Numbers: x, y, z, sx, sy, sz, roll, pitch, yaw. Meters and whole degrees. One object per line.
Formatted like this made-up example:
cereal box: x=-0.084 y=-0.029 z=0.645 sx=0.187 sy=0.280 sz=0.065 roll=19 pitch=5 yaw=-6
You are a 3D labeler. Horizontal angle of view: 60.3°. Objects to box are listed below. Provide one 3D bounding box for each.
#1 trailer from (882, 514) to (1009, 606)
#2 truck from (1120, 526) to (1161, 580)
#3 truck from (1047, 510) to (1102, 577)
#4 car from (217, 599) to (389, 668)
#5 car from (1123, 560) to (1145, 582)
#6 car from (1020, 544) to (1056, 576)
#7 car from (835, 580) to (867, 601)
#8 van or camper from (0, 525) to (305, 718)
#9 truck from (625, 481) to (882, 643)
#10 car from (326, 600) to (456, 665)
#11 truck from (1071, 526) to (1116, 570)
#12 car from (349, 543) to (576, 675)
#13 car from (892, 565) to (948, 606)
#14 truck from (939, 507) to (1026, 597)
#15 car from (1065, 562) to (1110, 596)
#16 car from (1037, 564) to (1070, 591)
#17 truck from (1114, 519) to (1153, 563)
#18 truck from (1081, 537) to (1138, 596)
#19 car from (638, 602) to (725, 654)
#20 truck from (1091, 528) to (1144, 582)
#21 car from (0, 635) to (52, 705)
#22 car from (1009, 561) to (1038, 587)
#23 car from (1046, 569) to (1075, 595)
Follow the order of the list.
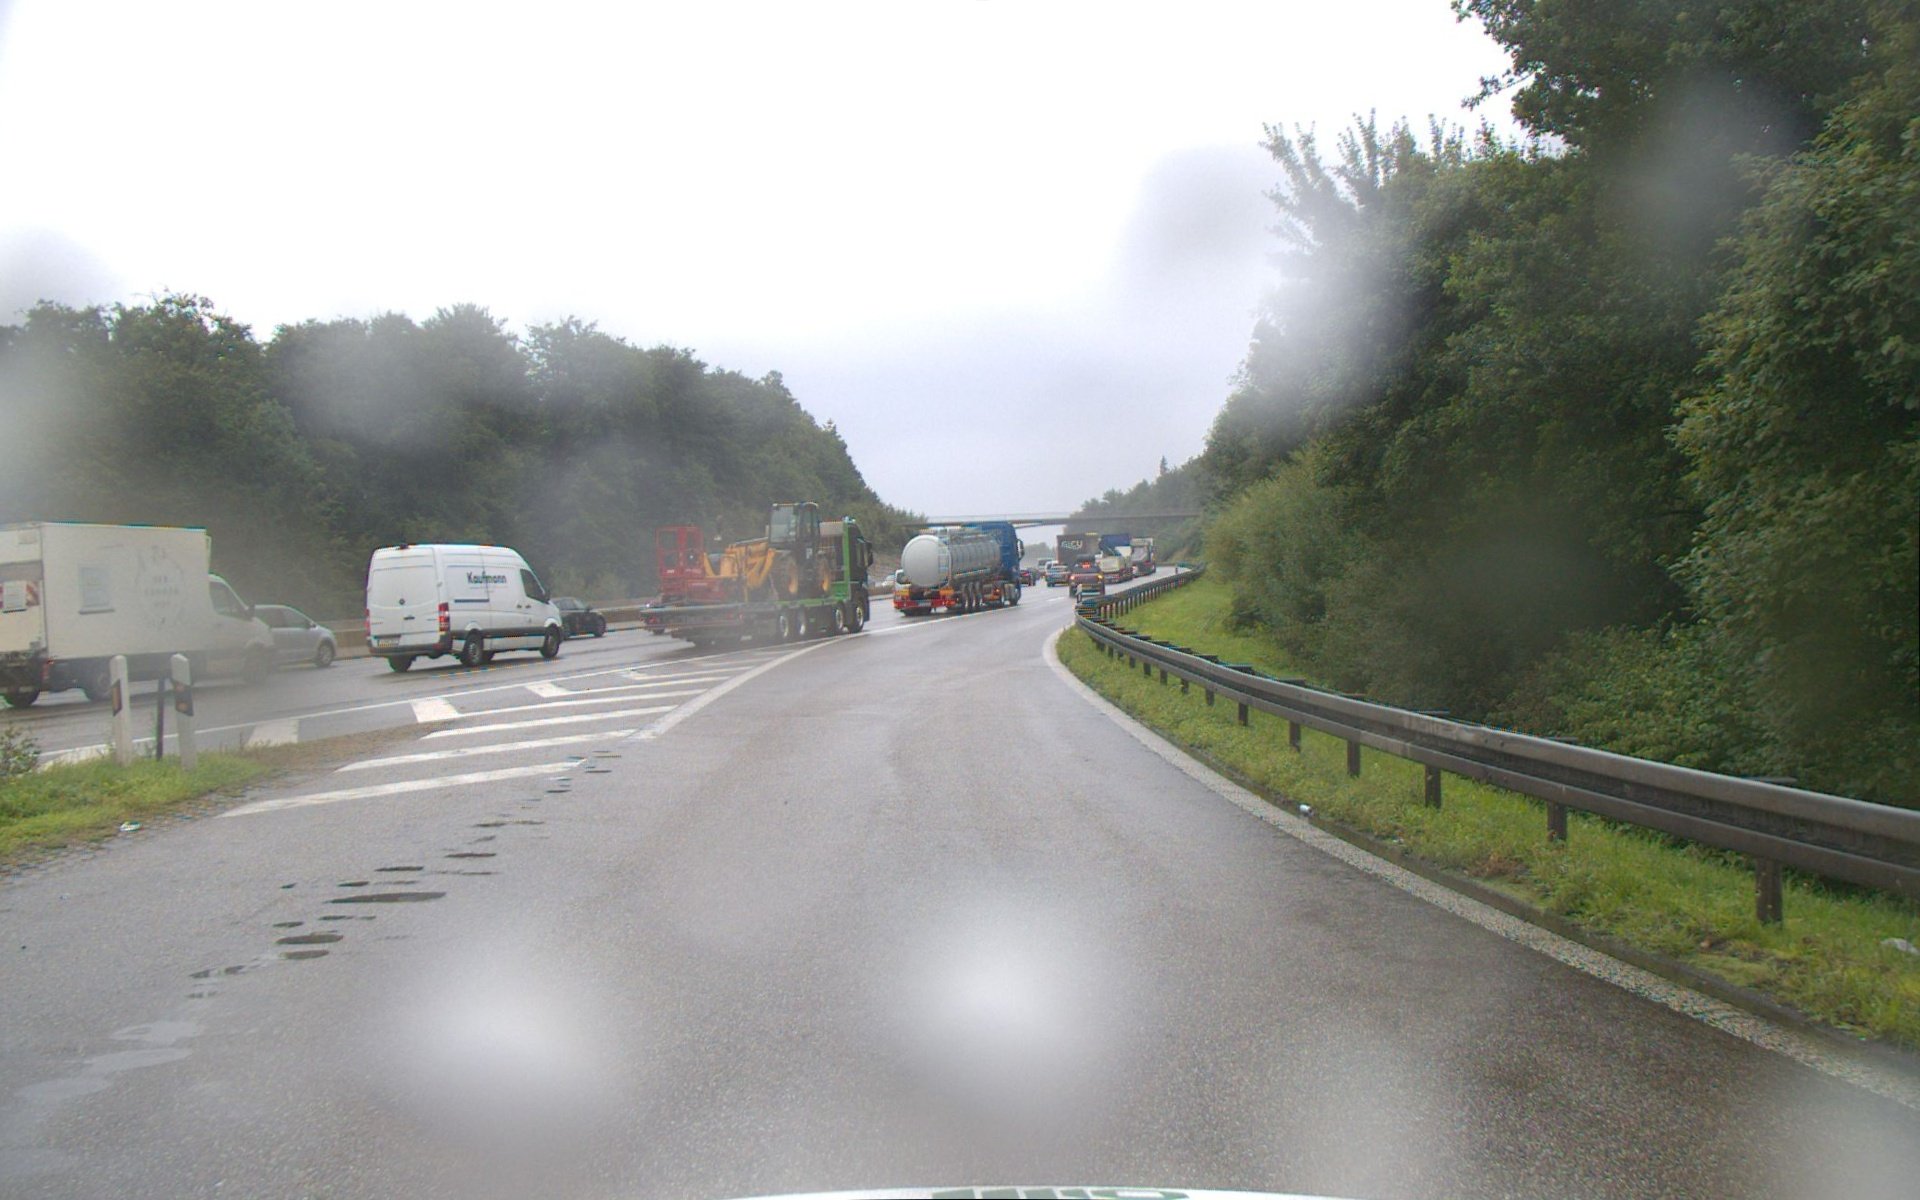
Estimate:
trailer: x=-0.413 y=-1.692 z=67.288 sx=2.812 sy=3.345 sz=10.088 roll=-2 pitch=1 yaw=13
truck: x=20.741 y=-5.310 z=189.314 sx=4.244 sy=5.864 sz=9.739 roll=1 pitch=0 yaw=8
truck: x=10.175 y=-4.911 z=146.107 sx=3.674 sy=5.595 sz=10.182 roll=1 pitch=0 yaw=10
car: x=-17.143 y=0.832 z=43.421 sx=1.826 sy=1.549 sz=4.634 roll=-2 pitch=1 yaw=13
car: x=15.935 y=-2.627 z=151.461 sx=1.759 sy=1.937 sz=4.004 roll=-2 pitch=0 yaw=9
car: x=7.891 y=-3.981 z=166.462 sx=3.029 sy=3.054 sz=6.779 roll=1 pitch=0 yaw=8
car: x=-10.268 y=-0.919 z=156.153 sx=1.951 sy=1.784 sz=4.004 roll=-2 pitch=1 yaw=12
van or camper: x=-15.979 y=0.322 z=31.847 sx=2.524 sy=3.259 sz=7.138 roll=-2 pitch=1 yaw=13
truck: x=-5.142 y=-1.049 z=44.653 sx=2.771 sy=3.650 sz=11.809 roll=-3 pitch=1 yaw=13
car: x=-17.065 y=0.947 z=49.807 sx=1.738 sy=1.735 sz=4.004 roll=-2 pitch=1 yaw=14
truck: x=13.978 y=-5.341 z=171.859 sx=3.500 sy=4.167 sz=10.889 roll=-2 pitch=0 yaw=10
car: x=-11.077 y=0.135 z=37.399 sx=2.168 sy=2.675 sz=5.849 roll=-2 pitch=1 yaw=13
car: x=-1.862 y=-0.692 z=77.665 sx=1.780 sy=1.797 sz=4.004 roll=-2 pitch=1 yaw=11
truck: x=1.057 y=-2.143 z=73.960 sx=2.815 sy=3.757 sz=5.062 roll=-2 pitch=1 yaw=12
car: x=6.611 y=-1.067 z=85.465 sx=1.951 sy=1.664 sz=4.003 roll=1 pitch=0 yaw=10
car: x=11.256 y=-2.680 z=198.984 sx=3.177 sy=3.054 sz=6.779 roll=1 pitch=0 yaw=10
truck: x=17.491 y=-5.896 z=166.465 sx=3.675 sy=4.040 sz=11.068 roll=1 pitch=0 yaw=7
truck: x=11.622 y=-2.652 z=127.229 sx=3.523 sy=4.176 sz=11.571 roll=-3 pitch=1 yaw=8
car: x=-9.891 y=0.955 z=59.072 sx=1.747 sy=1.757 sz=4.003 roll=1 pitch=0 yaw=11
truck: x=13.722 y=-3.813 z=143.012 sx=3.432 sy=4.342 sz=10.612 roll=1 pitch=0 yaw=11
car: x=-21.824 y=1.598 z=35.001 sx=1.707 sy=1.449 sz=4.838 roll=-2 pitch=1 yaw=14
car: x=5.179 y=-2.103 z=134.919 sx=1.759 sy=1.937 sz=4.004 roll=-2 pitch=0 yaw=10
car: x=7.607 y=-1.363 z=124.982 sx=1.759 sy=1.937 sz=4.003 roll=0 pitch=0 yaw=9
